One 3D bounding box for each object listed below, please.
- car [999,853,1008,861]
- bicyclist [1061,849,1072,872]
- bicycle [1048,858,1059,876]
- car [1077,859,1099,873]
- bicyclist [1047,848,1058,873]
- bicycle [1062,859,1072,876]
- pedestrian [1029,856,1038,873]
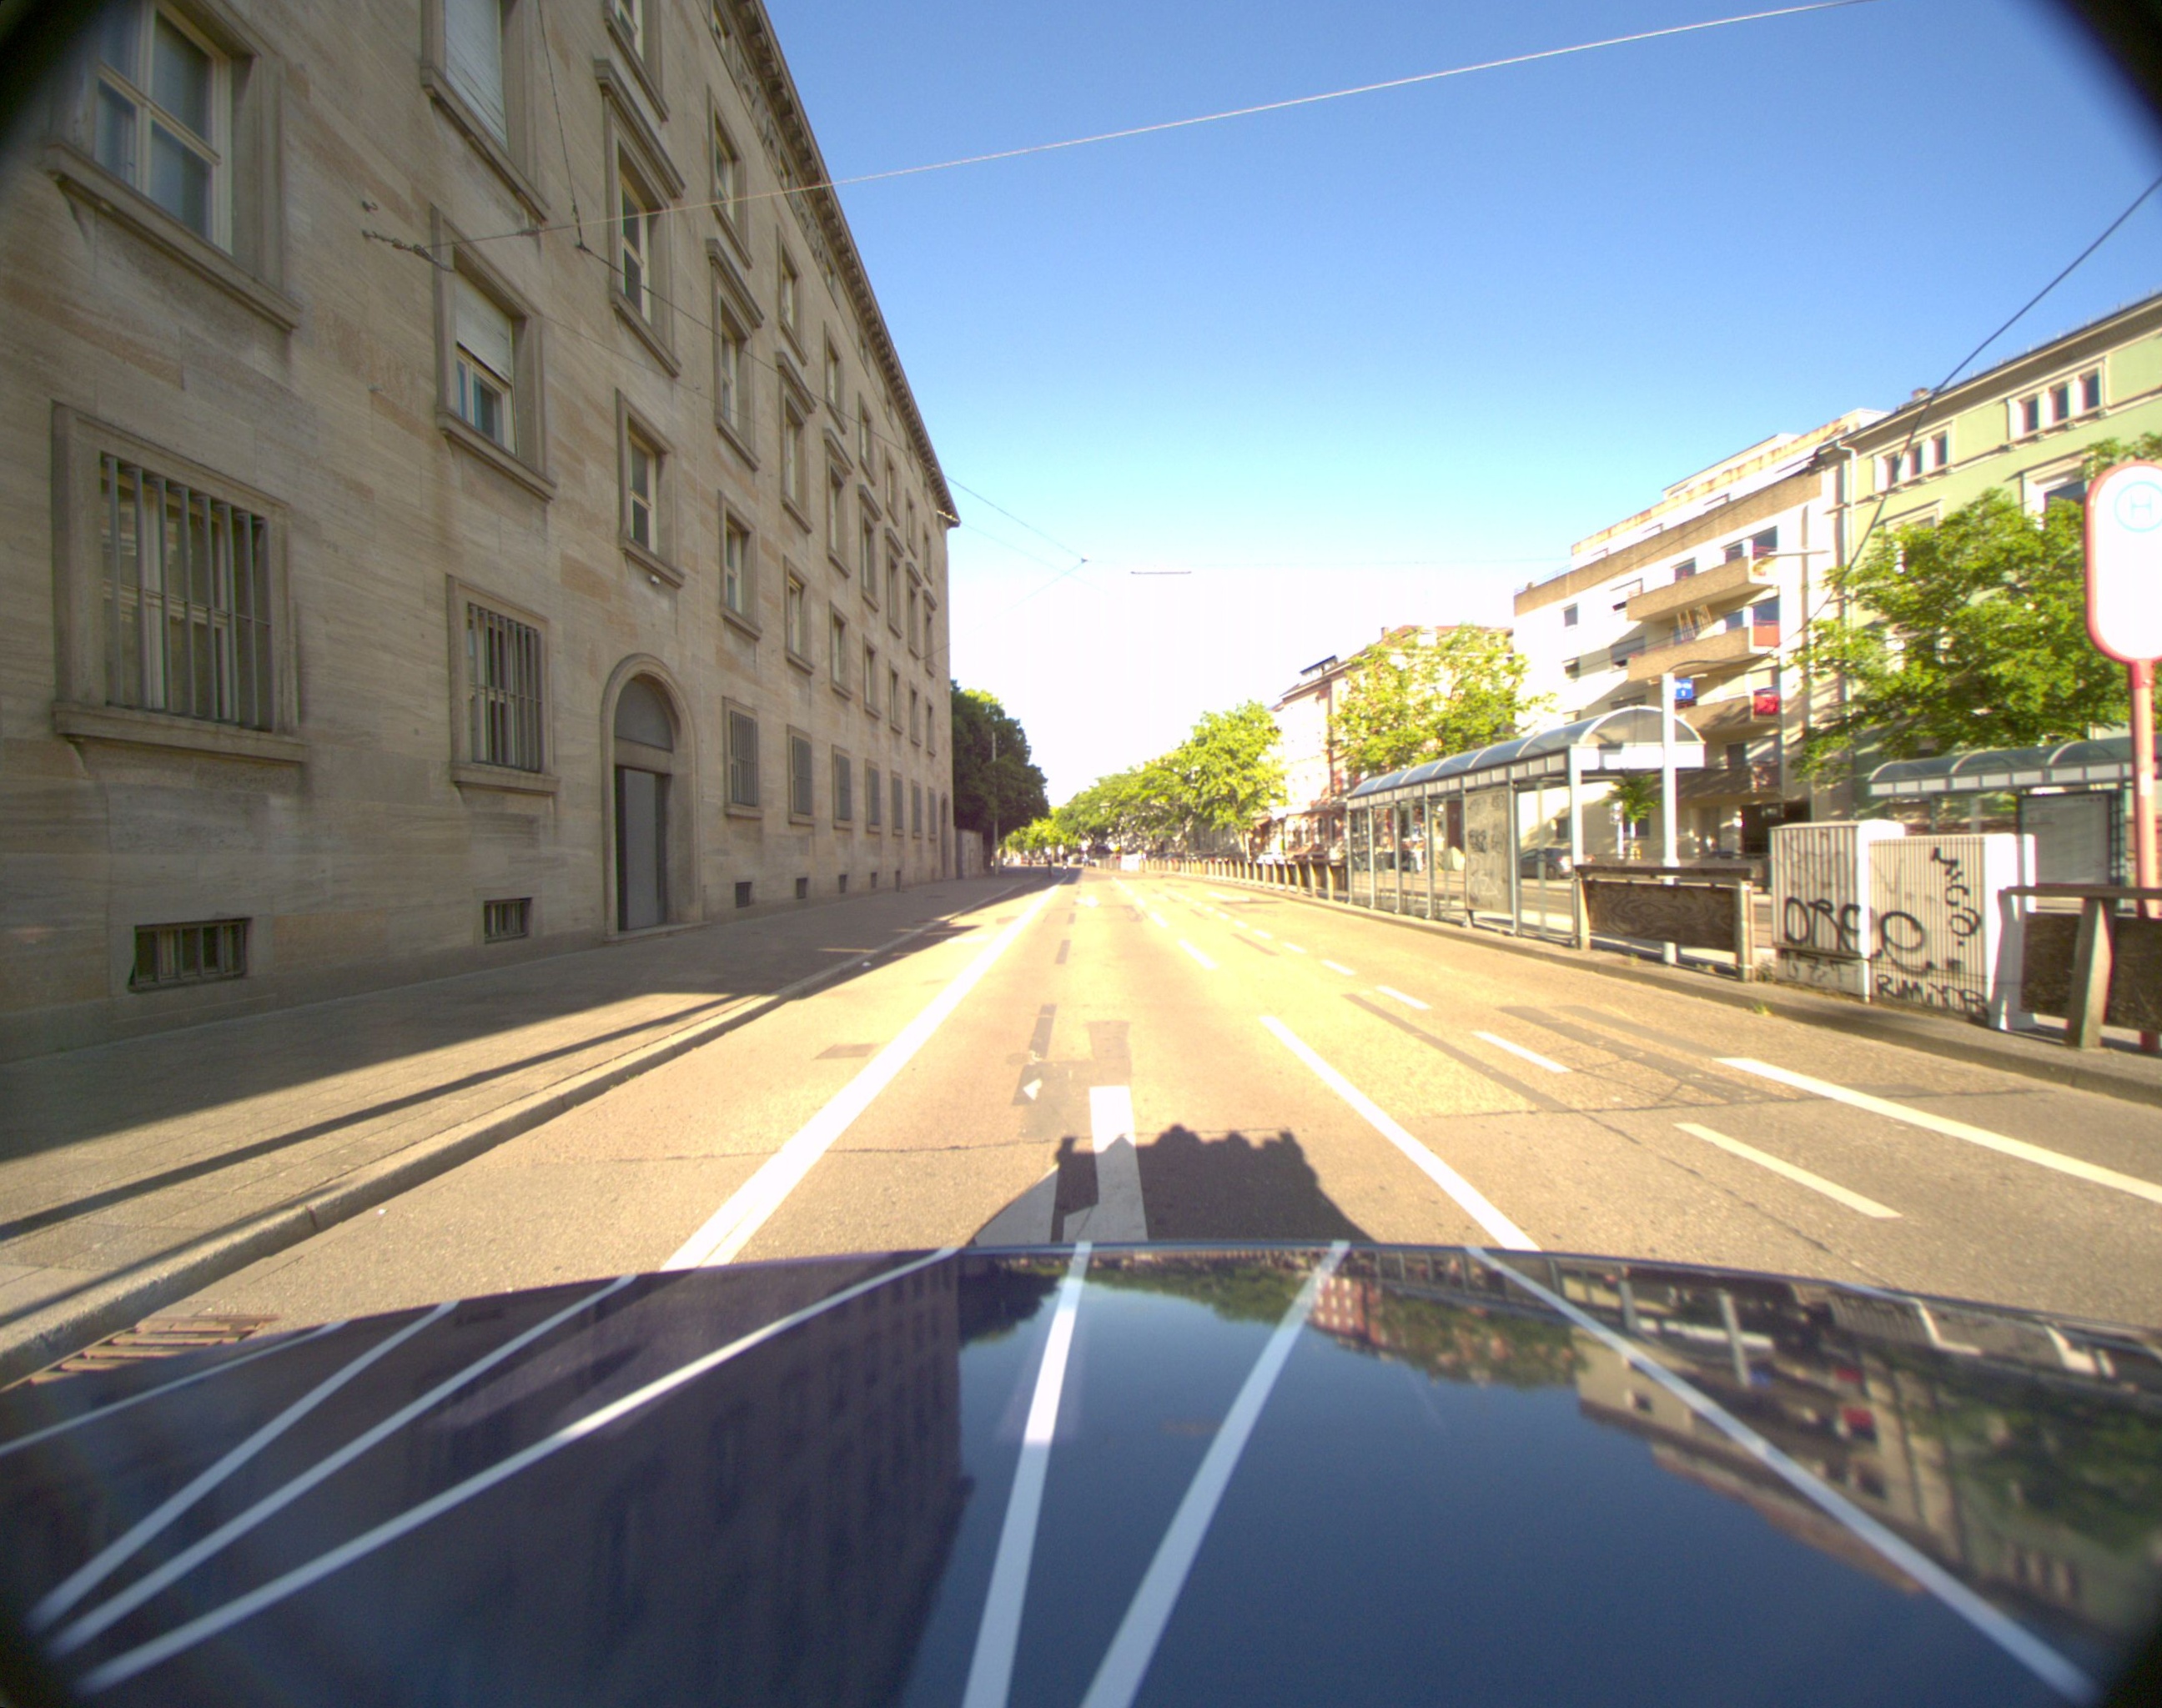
[{"bbox_3d":[-15.627,0.583,152.930,1.771,1.429,3.831,-1,0,-7],"label":"car"},{"bbox_3d":[-0.989,0.449,53.123,0.728,1.570,0.775,1,1,1],"label":"bicyclist"},{"bbox_3d":[-1.961,0.917,53.692,0.625,1.214,1.659,-3,1,1],"label":"bicycle"},{"bbox_3d":[0.953,1.569,100.138,2.001,1.789,3.995,-1,0,-13],"label":"car"},{"bbox_3d":[-1.986,0.442,53.657,0.625,1.729,0.688,-3,1,1],"label":"bicyclist"},{"bbox_3d":[-0.994,0.912,53.195,0.625,1.167,1.566,1,0,1],"label":"bicycle"},{"bbox_3d":[-3.678,0.802,58.896,0.548,1.327,0.587,-1,1,7],"label":"pedestrian"}]
